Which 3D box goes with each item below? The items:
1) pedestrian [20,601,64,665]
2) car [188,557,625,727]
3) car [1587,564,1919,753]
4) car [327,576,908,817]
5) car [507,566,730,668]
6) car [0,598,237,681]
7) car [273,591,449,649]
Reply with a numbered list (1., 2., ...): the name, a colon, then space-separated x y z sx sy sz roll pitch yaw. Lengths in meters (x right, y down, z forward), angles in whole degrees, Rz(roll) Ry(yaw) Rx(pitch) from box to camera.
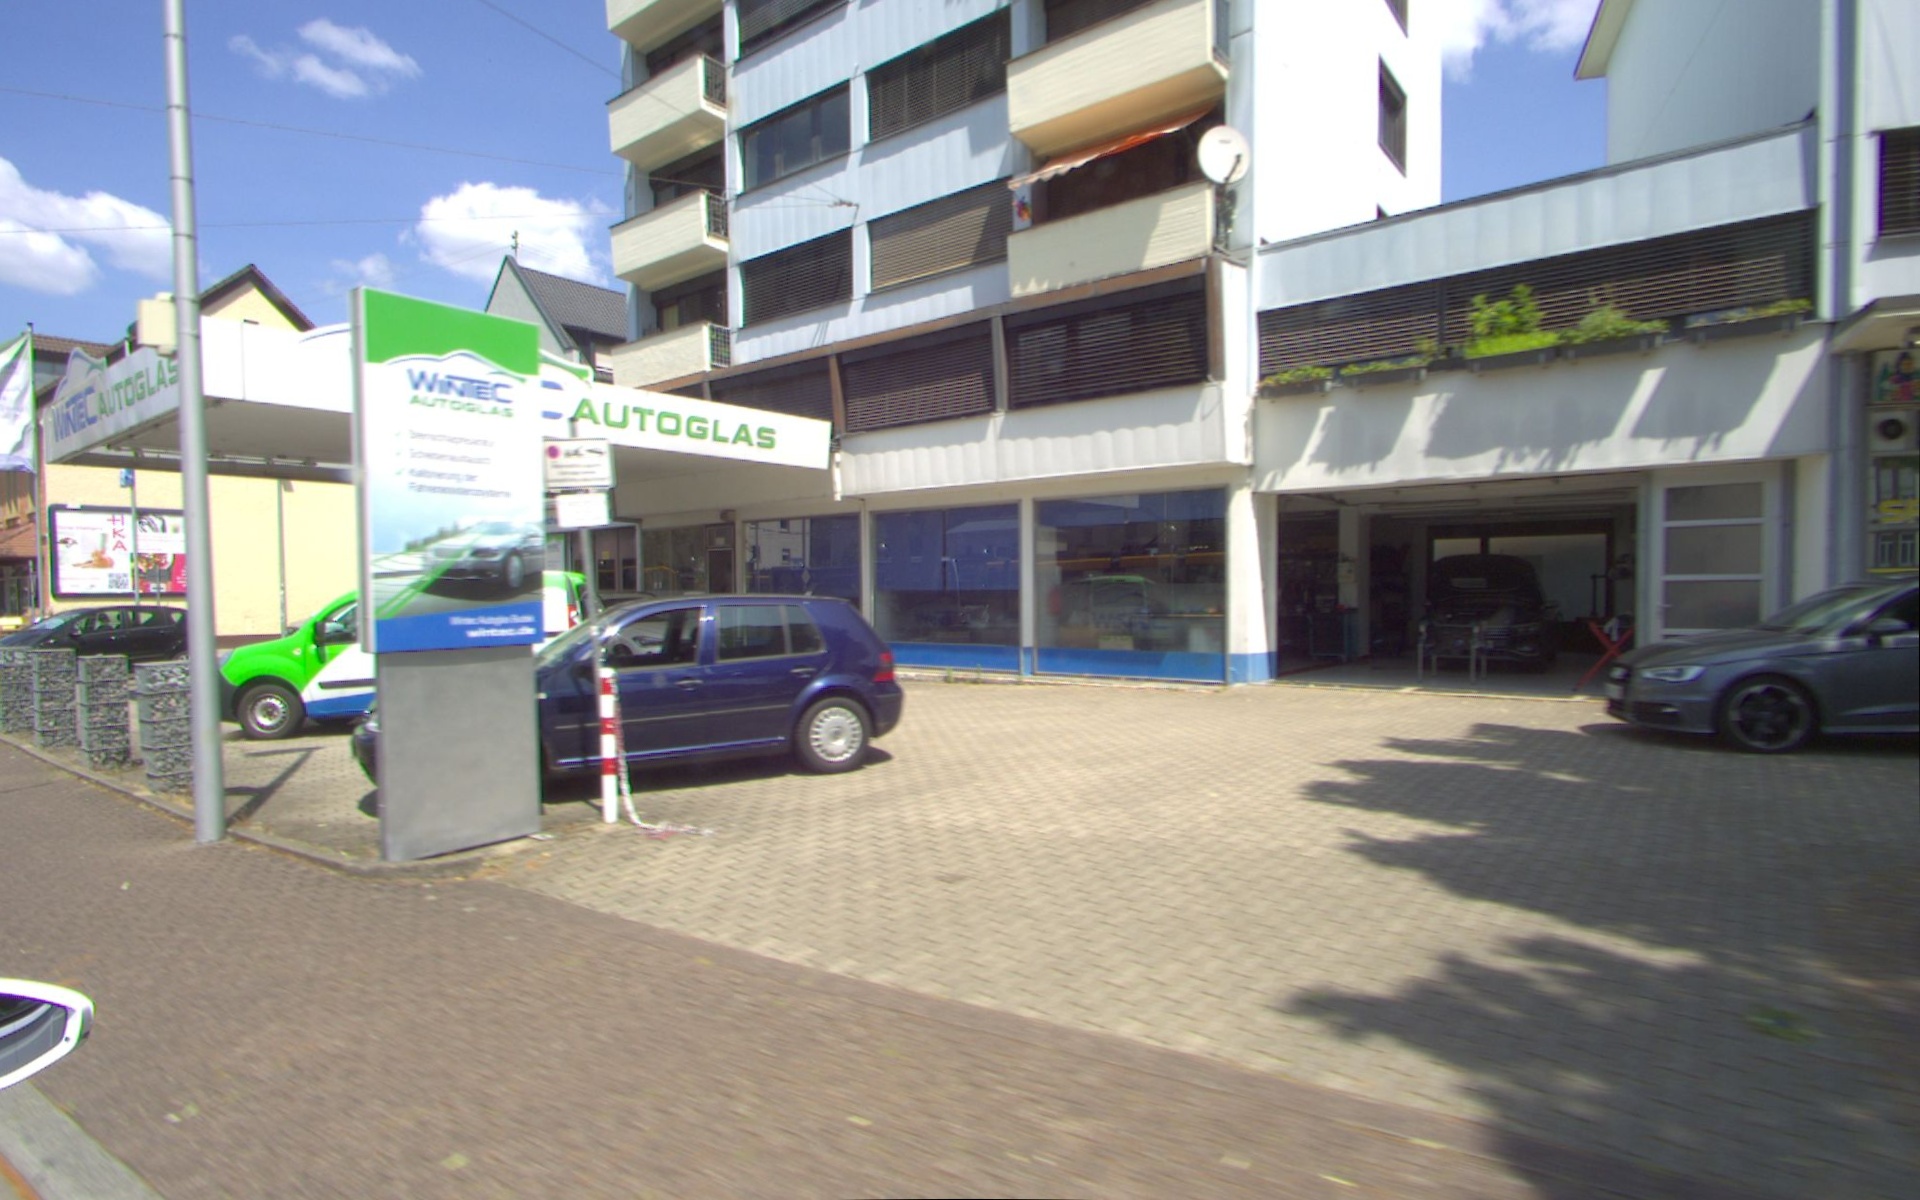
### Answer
1. pedestrian: -24.681 0.885 26.931 0.697 1.664 0.656 -2 3 -31
2. car: -6.346 0.490 12.011 4.210 1.812 1.822 0 -2 -12
3. car: 7.800 0.444 8.215 4.209 1.418 1.710 -1 -1 20
4. car: -2.547 0.580 7.882 3.912 1.448 1.692 -2 1 -27
5. car: -6.324 0.291 18.278 4.650 1.648 1.738 0 0 40
6. car: -17.914 0.764 21.158 1.813 1.563 3.874 -1 0 26
7. car: -21.212 0.664 35.669 1.883 1.886 5.038 -1 0 35
